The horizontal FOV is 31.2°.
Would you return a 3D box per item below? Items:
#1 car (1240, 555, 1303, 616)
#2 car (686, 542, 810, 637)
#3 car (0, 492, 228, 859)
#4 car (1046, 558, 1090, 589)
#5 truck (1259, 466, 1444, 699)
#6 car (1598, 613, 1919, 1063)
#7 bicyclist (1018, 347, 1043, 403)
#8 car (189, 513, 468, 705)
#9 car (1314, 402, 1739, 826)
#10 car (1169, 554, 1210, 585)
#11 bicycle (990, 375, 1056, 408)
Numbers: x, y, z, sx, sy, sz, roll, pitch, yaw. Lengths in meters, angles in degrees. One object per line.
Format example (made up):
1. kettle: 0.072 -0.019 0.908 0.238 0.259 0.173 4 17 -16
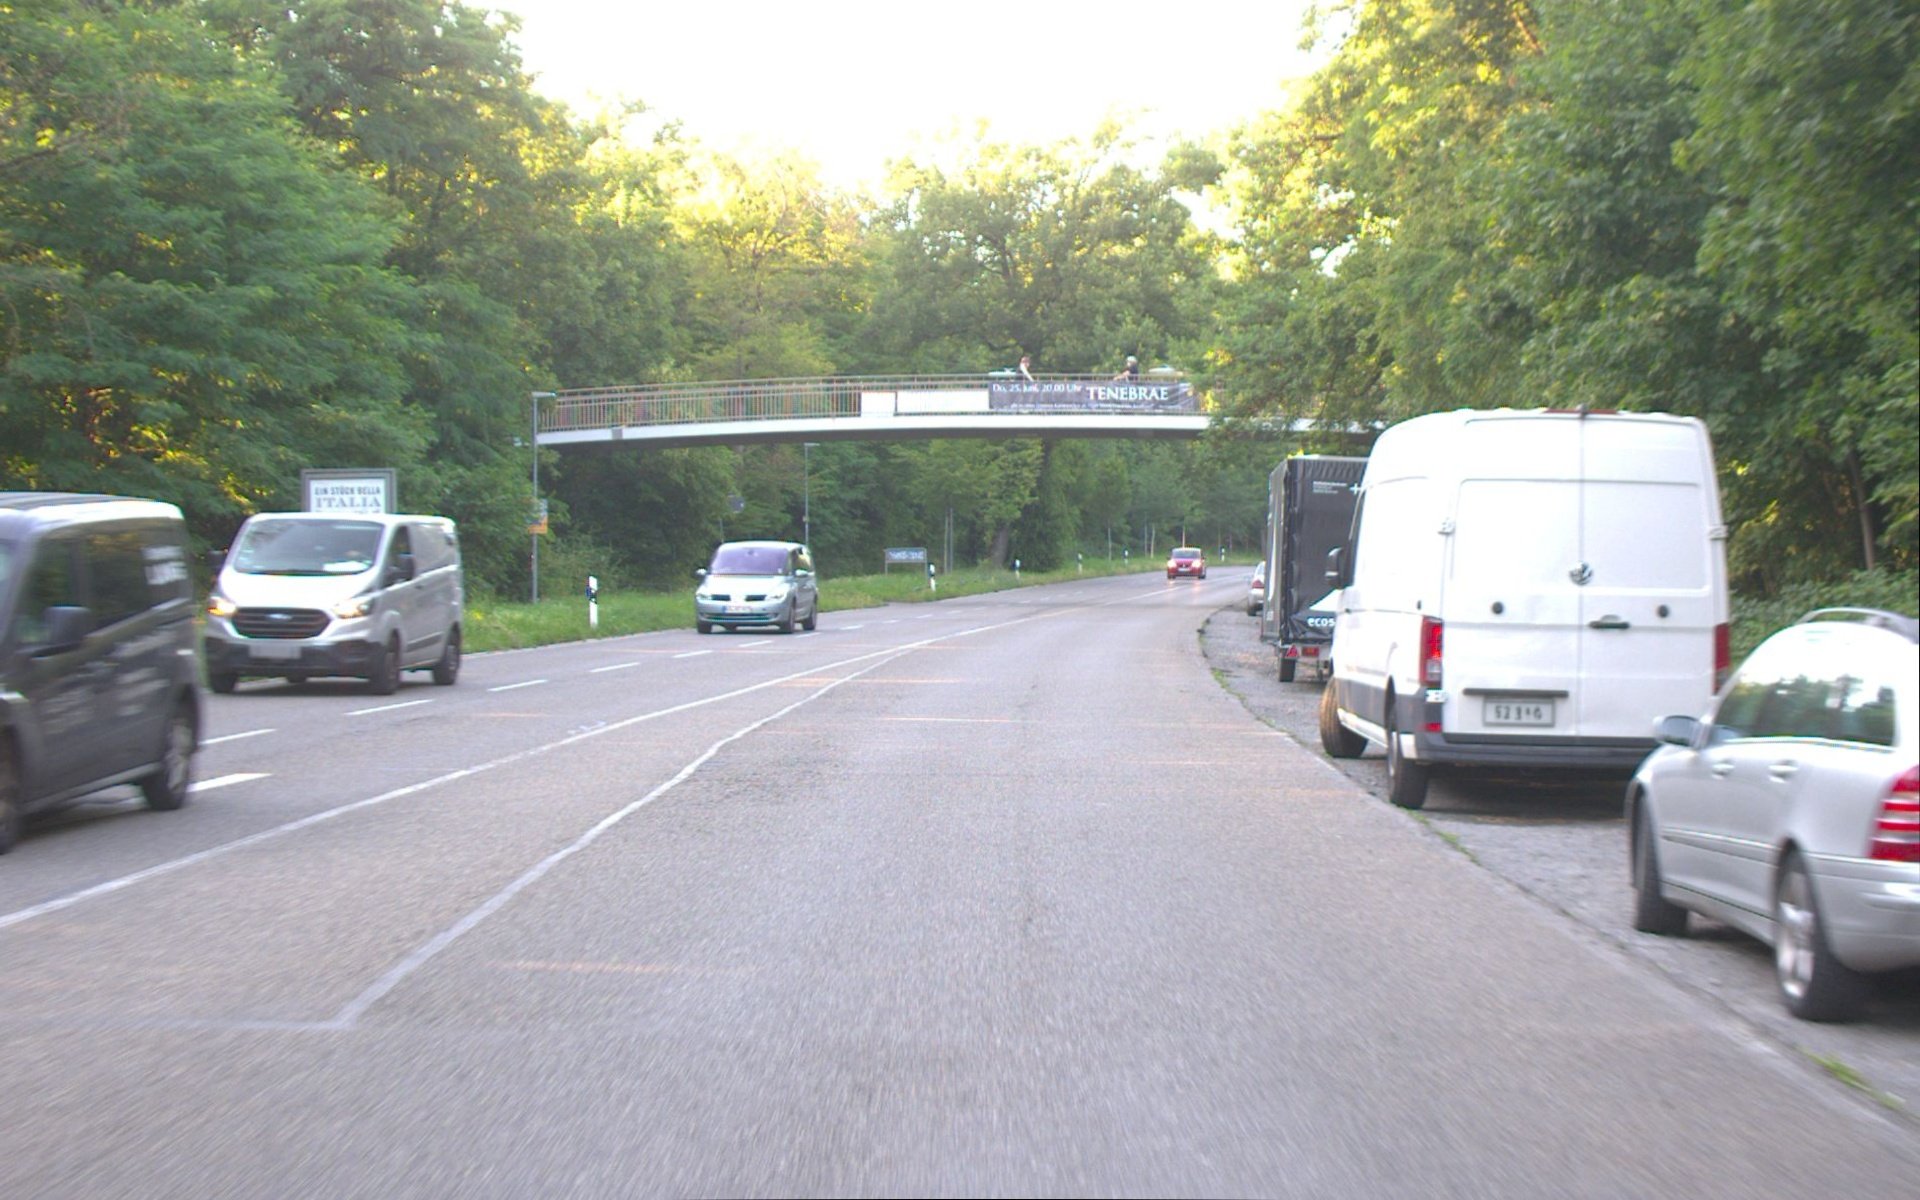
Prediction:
1. car: 8.011 -0.379 88.580 1.516 1.503 3.336 1 1 4
2. car: -3.998 -0.215 65.446 1.843 1.729 4.000 1 1 4
3. car: -5.508 0.342 18.465 1.843 1.794 4.747 1 1 4
4. car: 5.122 -1.264 162.459 1.892 1.442 4.109 -1 1 4
5. truck: 4.906 -0.245 43.907 1.994 2.708 6.615 1 1 4
6. car: 3.723 0.799 13.198 1.683 1.368 4.271 2 1 0
7. bicyclist: 2.032 -6.481 99.149 0.665 1.576 0.547 1 1 6
8. car: -6.884 0.059 37.924 1.994 1.919 4.381 2 1 3
9. car: 3.730 0.047 23.779 1.964 2.503 6.015 2 1 1
10. car: 10.918 -1.470 163.422 1.892 1.442 4.109 -1 1 4
11. bicycle: 1.817 -6.014 99.179 1.845 0.946 0.550 1 1 6
